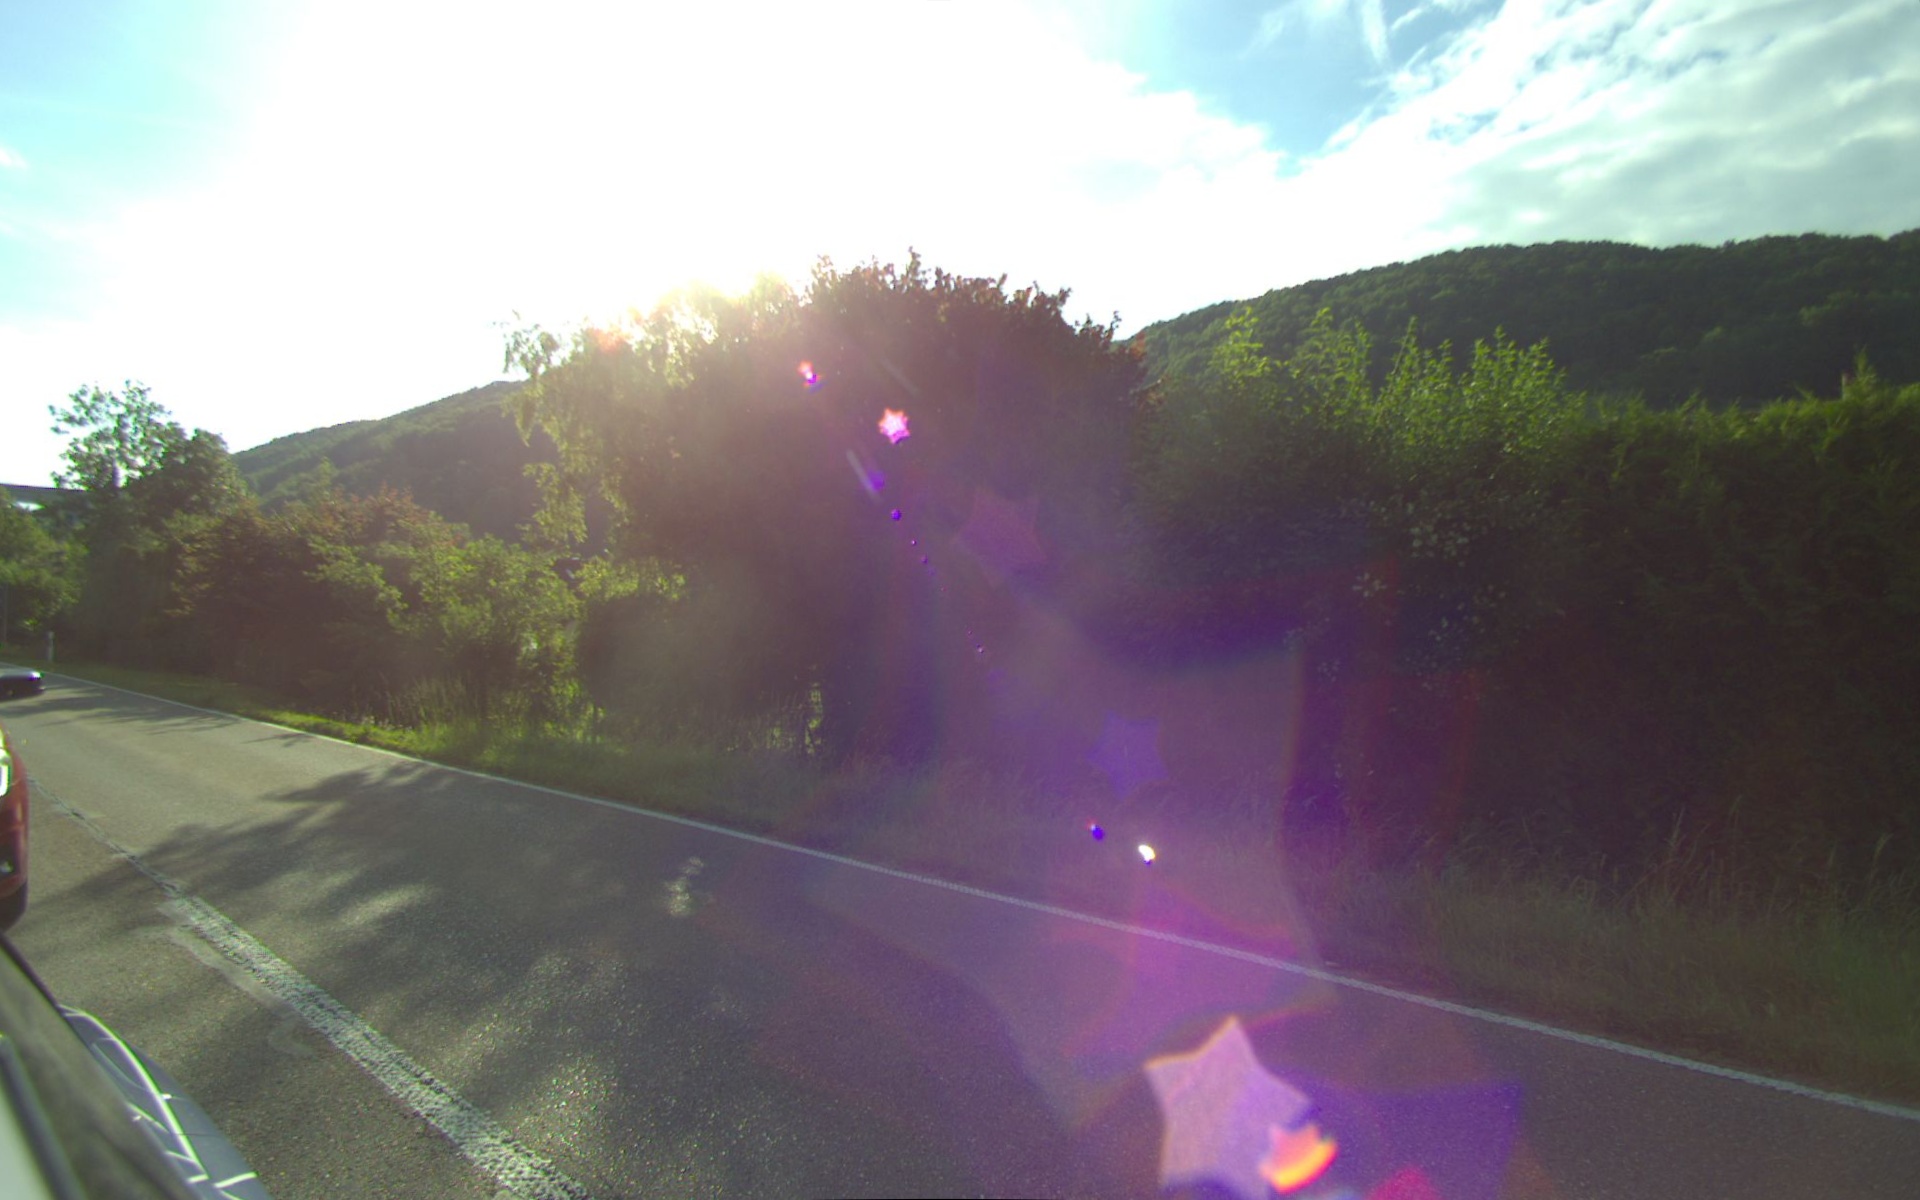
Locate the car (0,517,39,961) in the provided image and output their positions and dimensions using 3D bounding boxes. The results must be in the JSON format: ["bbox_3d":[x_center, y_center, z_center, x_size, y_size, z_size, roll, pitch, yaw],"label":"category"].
[{"bbox_3d":[-6.039,0.611,5.004,4.287,1.823,1.731,-1,1,42],"label":"car"}]
